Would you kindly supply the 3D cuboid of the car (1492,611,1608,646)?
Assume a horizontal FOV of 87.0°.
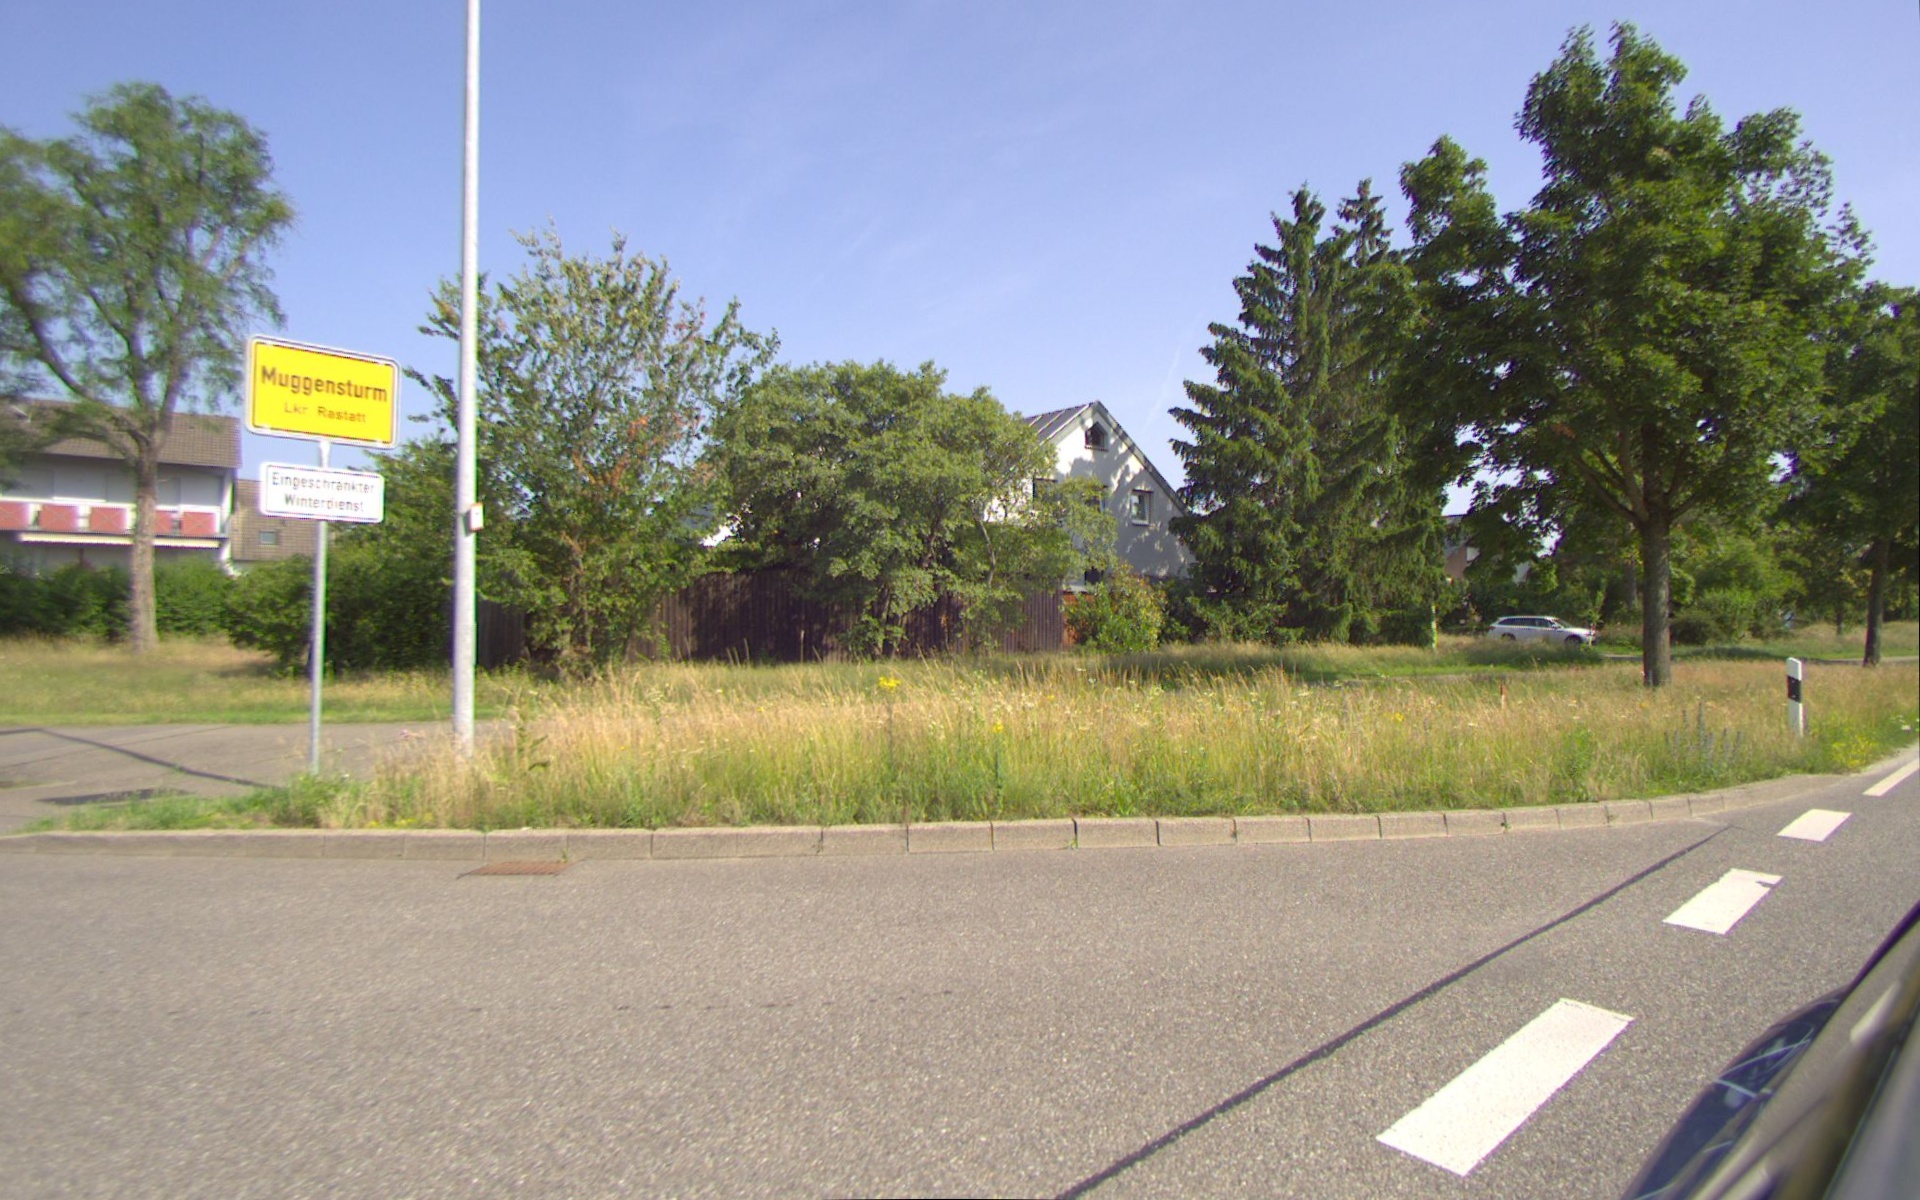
[{"bbox_3d":[25.683,1.213,44.156,1.783,1.452,3.994,0,-1,-40],"label":"car"}]
